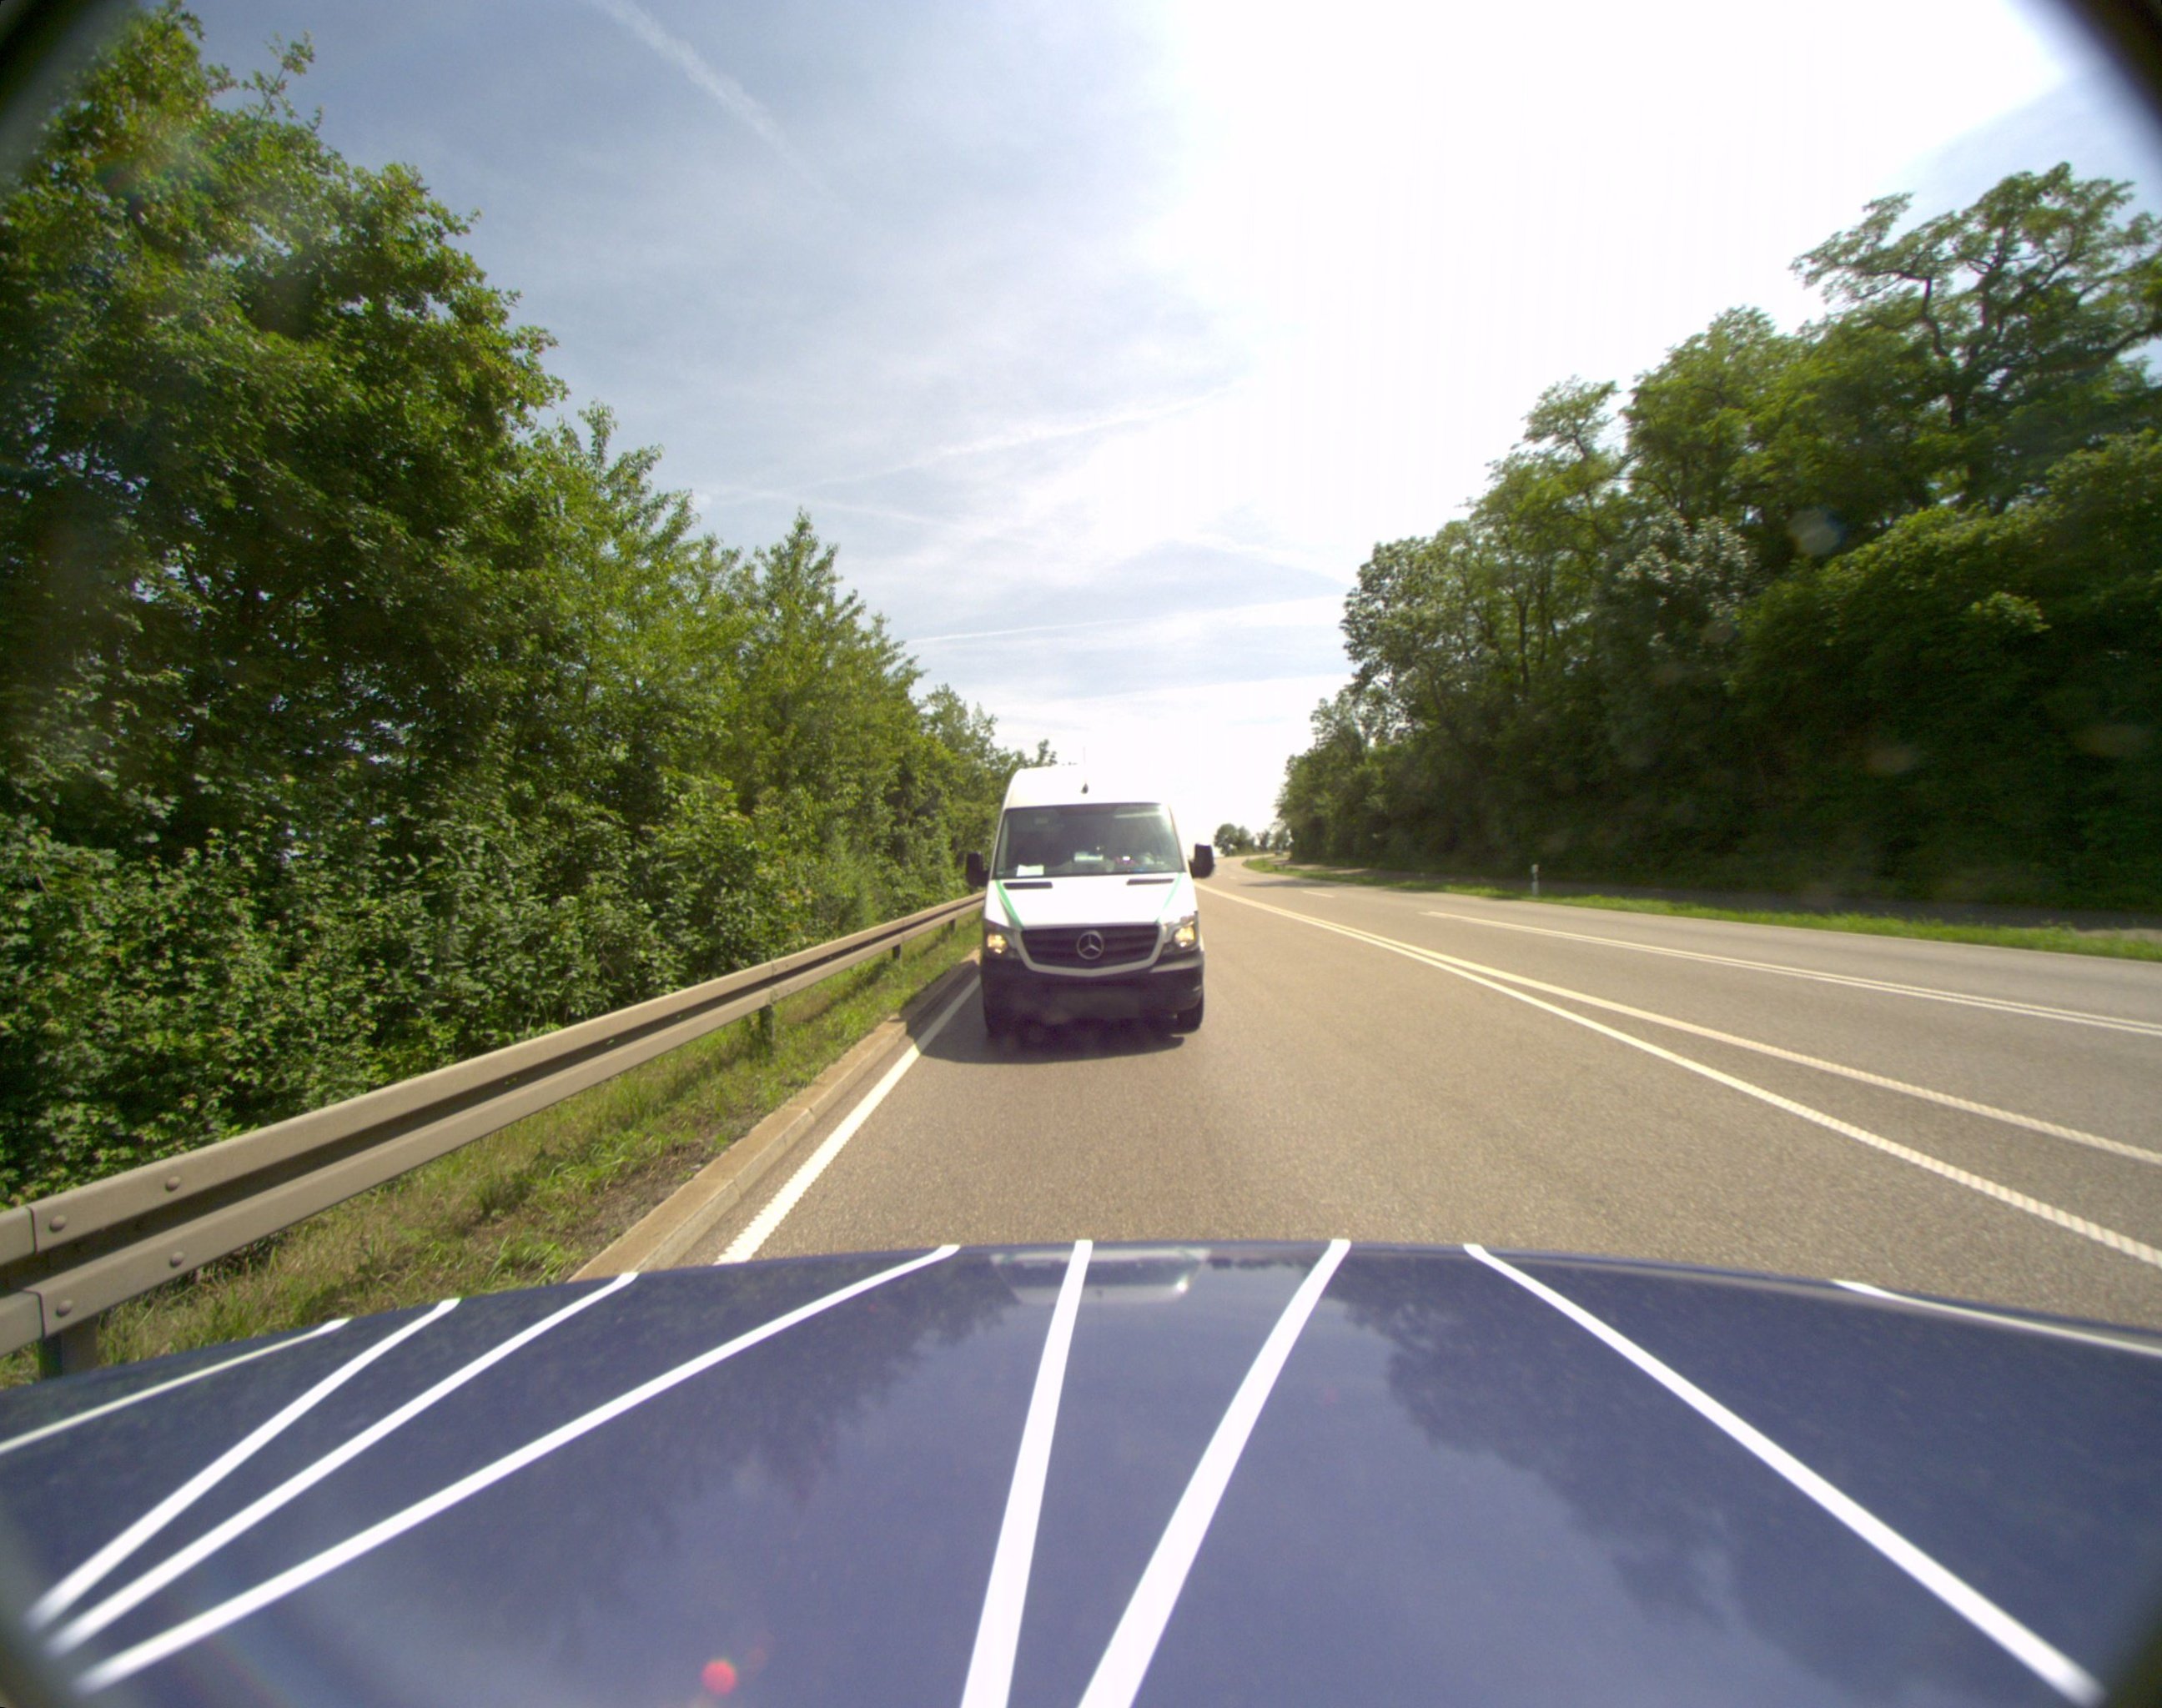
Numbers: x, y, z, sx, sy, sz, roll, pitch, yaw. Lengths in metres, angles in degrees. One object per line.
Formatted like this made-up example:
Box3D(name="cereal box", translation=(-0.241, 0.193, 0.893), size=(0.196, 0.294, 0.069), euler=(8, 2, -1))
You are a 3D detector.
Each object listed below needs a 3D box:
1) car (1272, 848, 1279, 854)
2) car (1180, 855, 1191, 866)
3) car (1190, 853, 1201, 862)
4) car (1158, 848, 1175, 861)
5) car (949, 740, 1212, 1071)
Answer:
Box3D(name="car", translation=(53.489, -0.821, 208.837), size=(1.805, 1.379, 3.874), euler=(-2, 0, 14))
Box3D(name="car", translation=(19.902, 1.194, 144.261), size=(1.850, 2.002, 3.875), euler=(-2, 1, 11))
Box3D(name="car", translation=(24.355, 0.669, 161.556), size=(1.764, 1.849, 3.813), euler=(-2, 1, 14))
Box3D(name="car", translation=(13.651, 0.046, 121.595), size=(1.996, 2.002, 4.005), euler=(-2, 0, 16))
Box3D(name="car", translation=(0.075, 0.407, 8.505), size=(1.958, 2.502, 5.267), euler=(-2, 0, 2))
